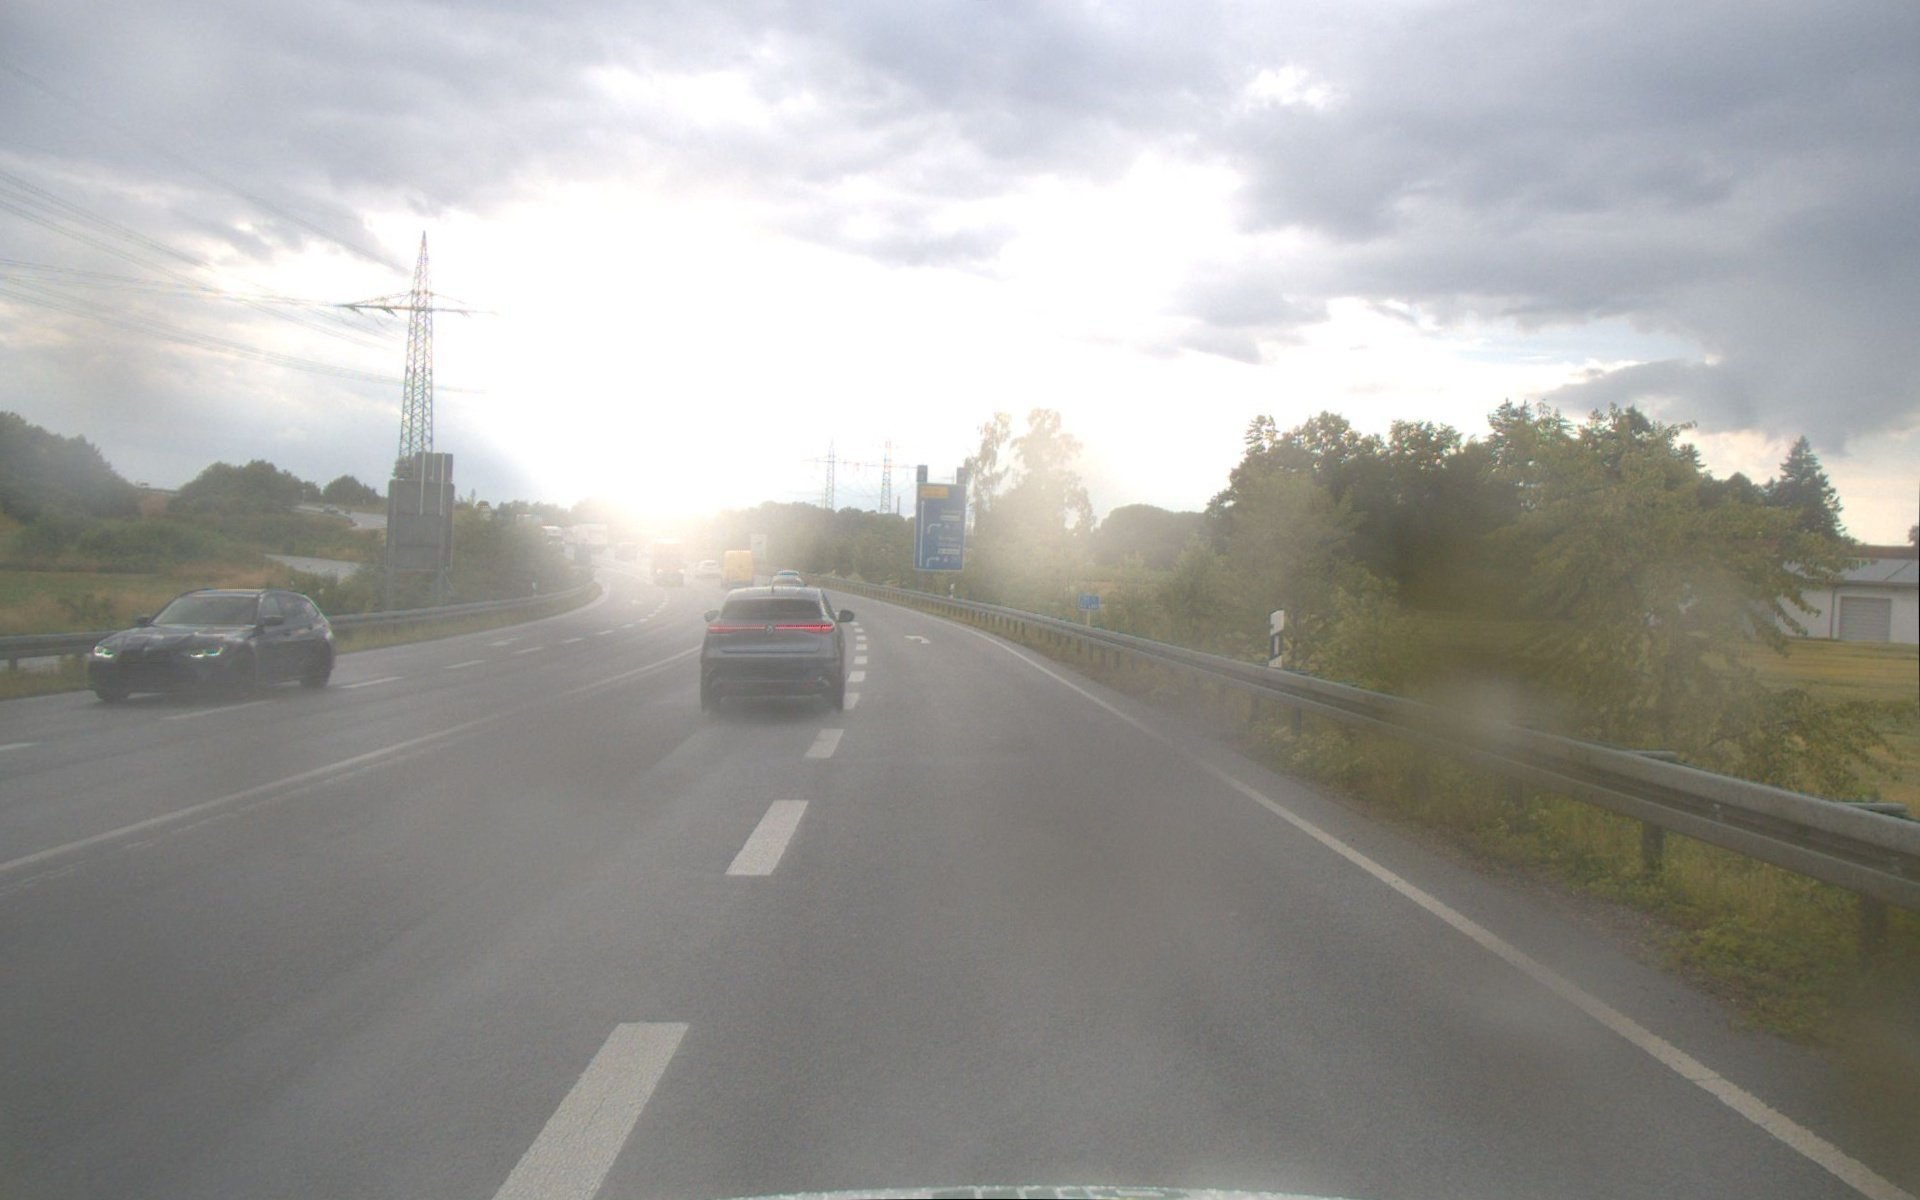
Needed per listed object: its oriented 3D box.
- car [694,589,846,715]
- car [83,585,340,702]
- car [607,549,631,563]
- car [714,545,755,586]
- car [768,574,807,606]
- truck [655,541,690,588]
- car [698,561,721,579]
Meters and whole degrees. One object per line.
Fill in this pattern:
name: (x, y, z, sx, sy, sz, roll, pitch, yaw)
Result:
car: (-2.399, 0.603, 21.410, 1.756, 1.466, 3.996, 0, 0, -5)
car: (-10.437, 0.547, 23.503, 1.859, 1.466, 4.894, 0, 0, -6)
car: (-39.476, -5.101, 191.542, 1.769, 1.466, 3.969, 4, 0, -25)
car: (-16.132, -2.447, 118.218, 2.527, 2.773, 7.178, 0, 1, -11)
car: (-8.107, -0.478, 77.526, 1.757, 1.466, 3.994, 0, 0, -6)
truck: (-21.587, -2.655, 124.025, 2.436, 3.349, 7.263, -1, 1, -11)
car: (-21.442, -2.587, 141.583, 1.759, 1.466, 3.990, 1, 0, -11)
